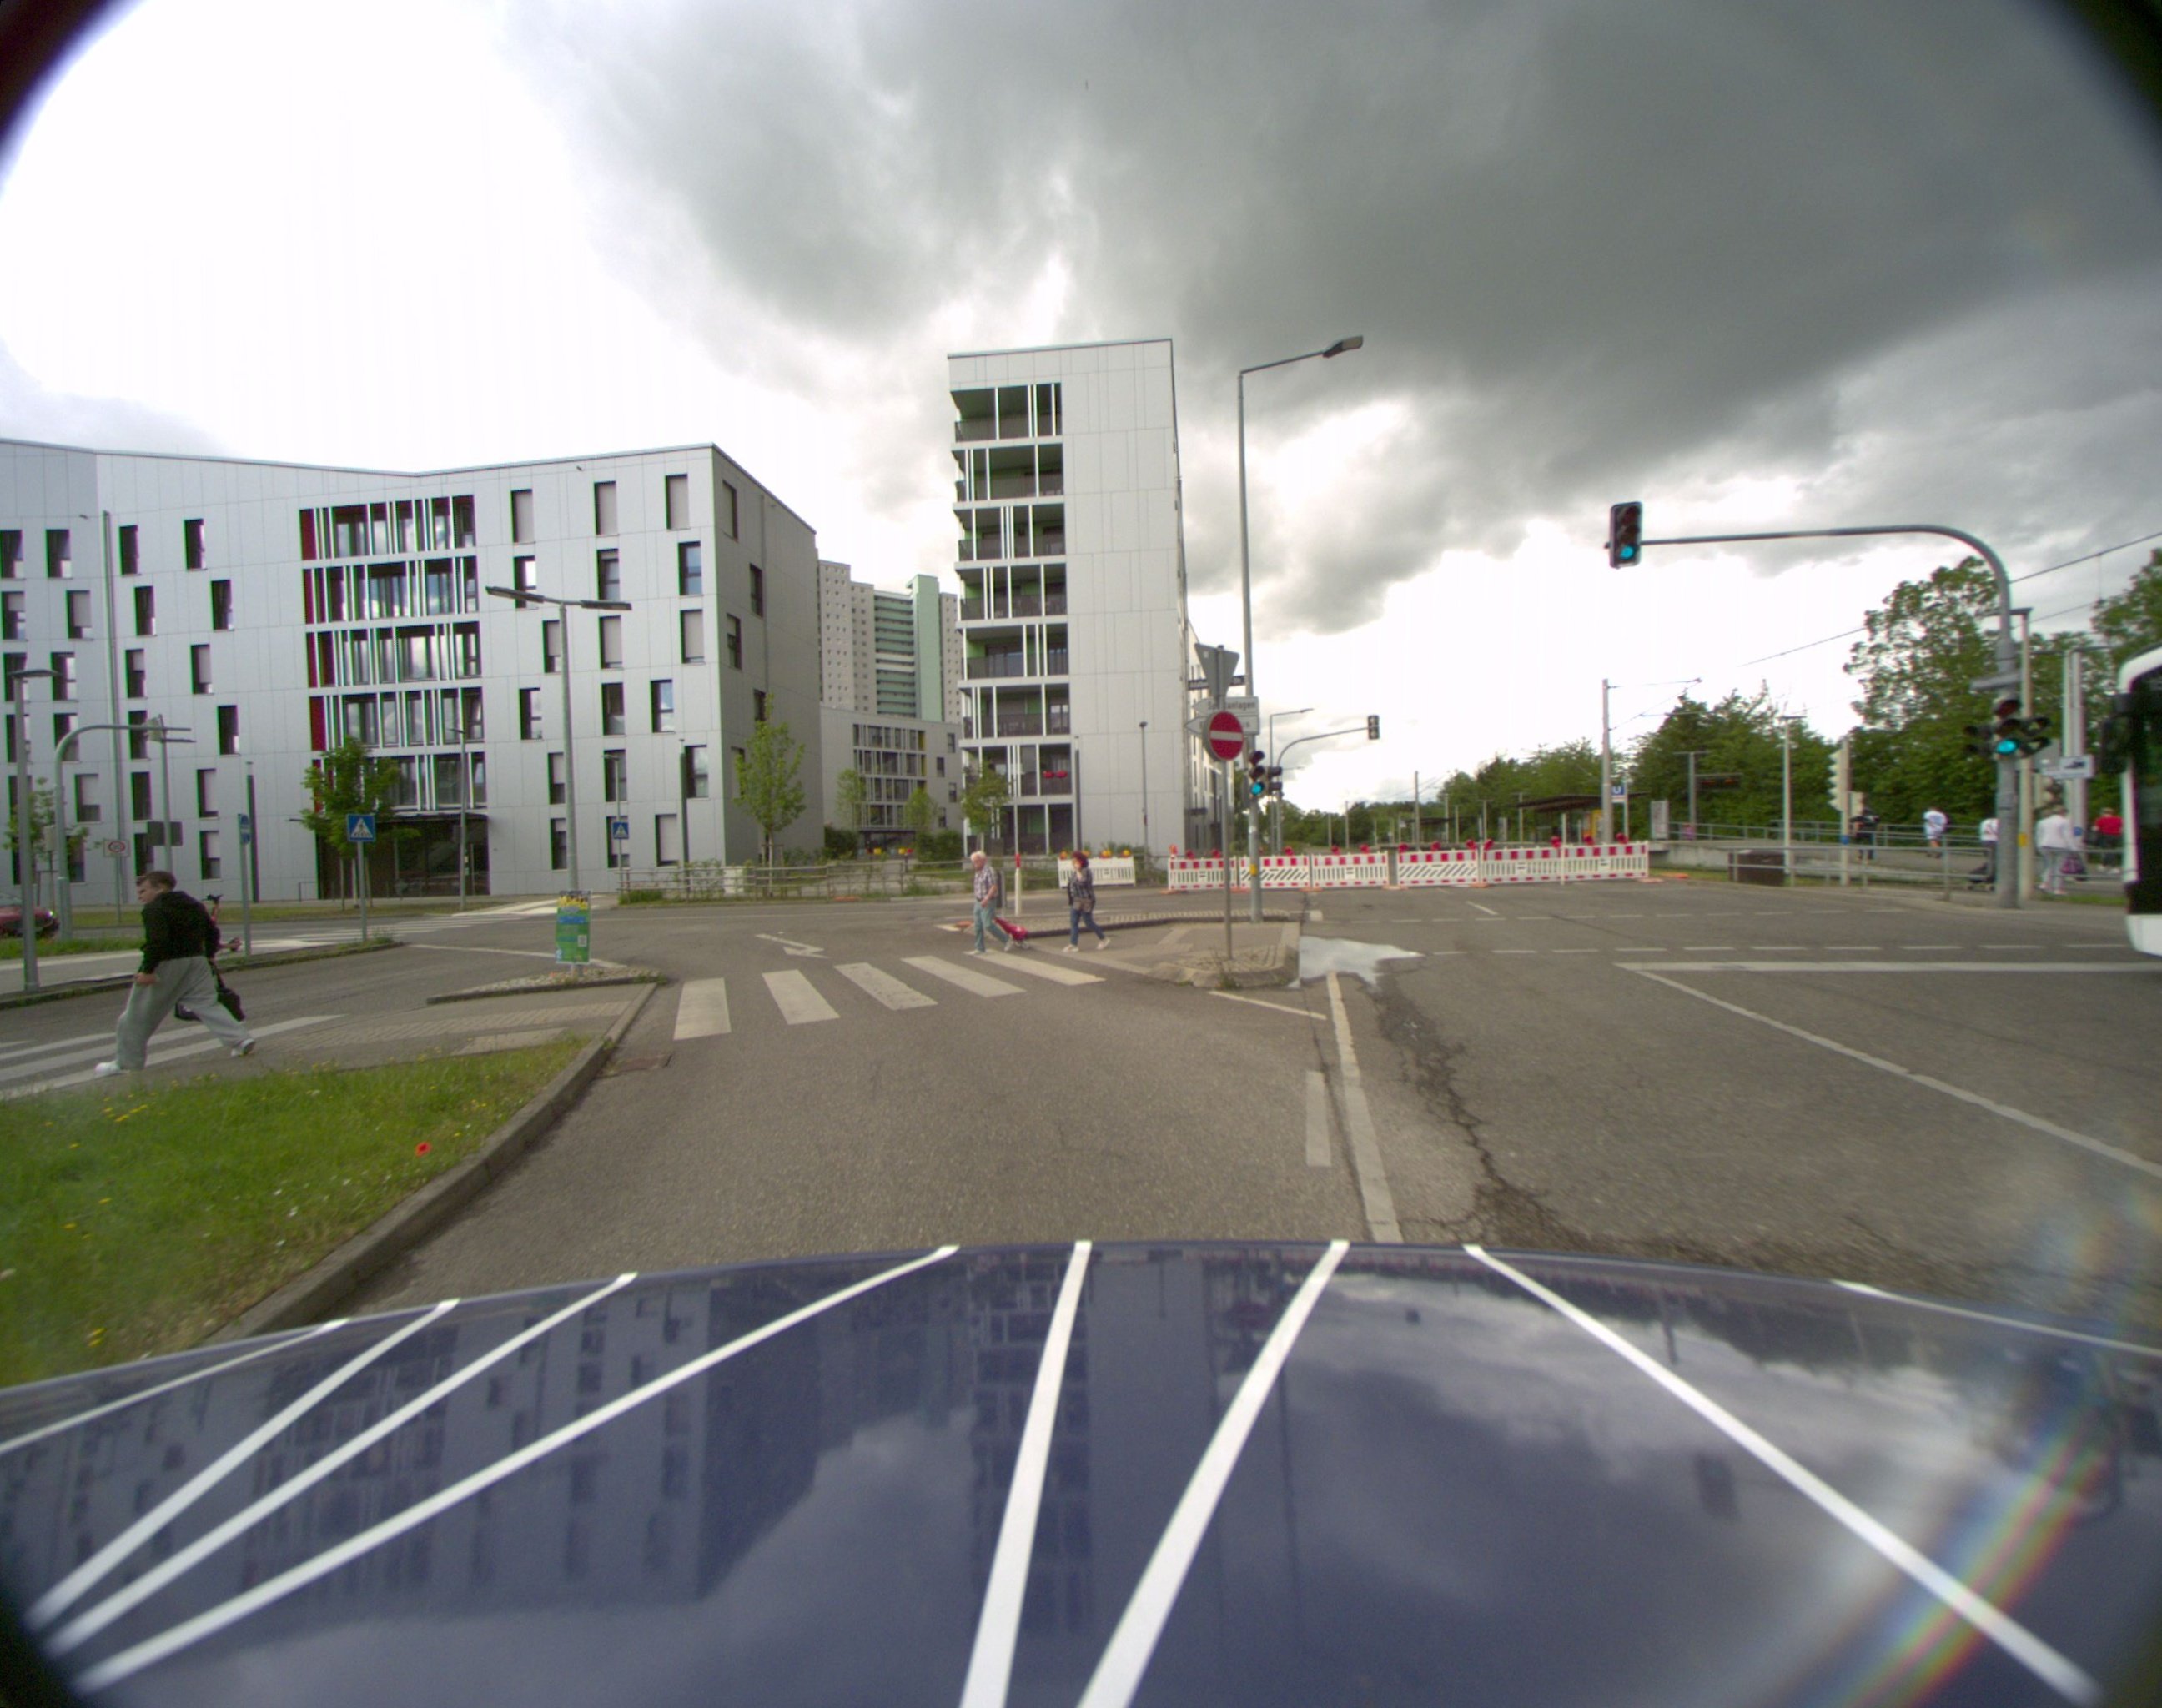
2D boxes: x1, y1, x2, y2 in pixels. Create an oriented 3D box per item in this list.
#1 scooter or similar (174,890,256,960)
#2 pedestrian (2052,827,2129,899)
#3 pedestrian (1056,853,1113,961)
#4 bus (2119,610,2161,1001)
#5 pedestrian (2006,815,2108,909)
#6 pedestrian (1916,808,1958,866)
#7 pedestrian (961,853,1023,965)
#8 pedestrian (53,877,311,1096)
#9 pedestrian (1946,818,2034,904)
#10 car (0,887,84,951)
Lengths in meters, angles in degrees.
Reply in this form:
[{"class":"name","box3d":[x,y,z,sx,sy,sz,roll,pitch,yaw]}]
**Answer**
[{"class":"scooter or similar","box3d":[-18.105,1.451,15.925,0.573,1.305,1.522,-2,1,-28]},{"class":"pedestrian","box3d":[23.427,0.200,17.654,0.803,1.612,0.723,-1,2,16]},{"class":"pedestrian","box3d":[0.065,0.779,11.452,0.731,1.558,0.692,-1,2,8]},{"class":"bus","box3d":[8.448,-0.289,0.279,2.670,3.184,12.212,-1,1,17]},{"class":"pedestrian","box3d":[18.684,0.153,14.572,0.955,1.738,0.723,-1,2,22]},{"class":"pedestrian","box3d":[25.905,-0.516,22.997,0.959,1.738,0.720,-3,2,-34]},{"class":"pedestrian","box3d":[-1.343,0.823,11.603,0.721,1.625,0.699,-1,3,9]},{"class":"pedestrian","box3d":[-7.983,1.111,6.834,1.062,1.737,0.956,-2,2,-10]},{"class":"pedestrian","box3d":[19.011,0.146,15.913,0.955,1.738,0.723,-1,2,22]},{"class":"car","box3d":[-31.663,1.872,21.580,4.238,1.623,1.934,-1,2,4]}]
